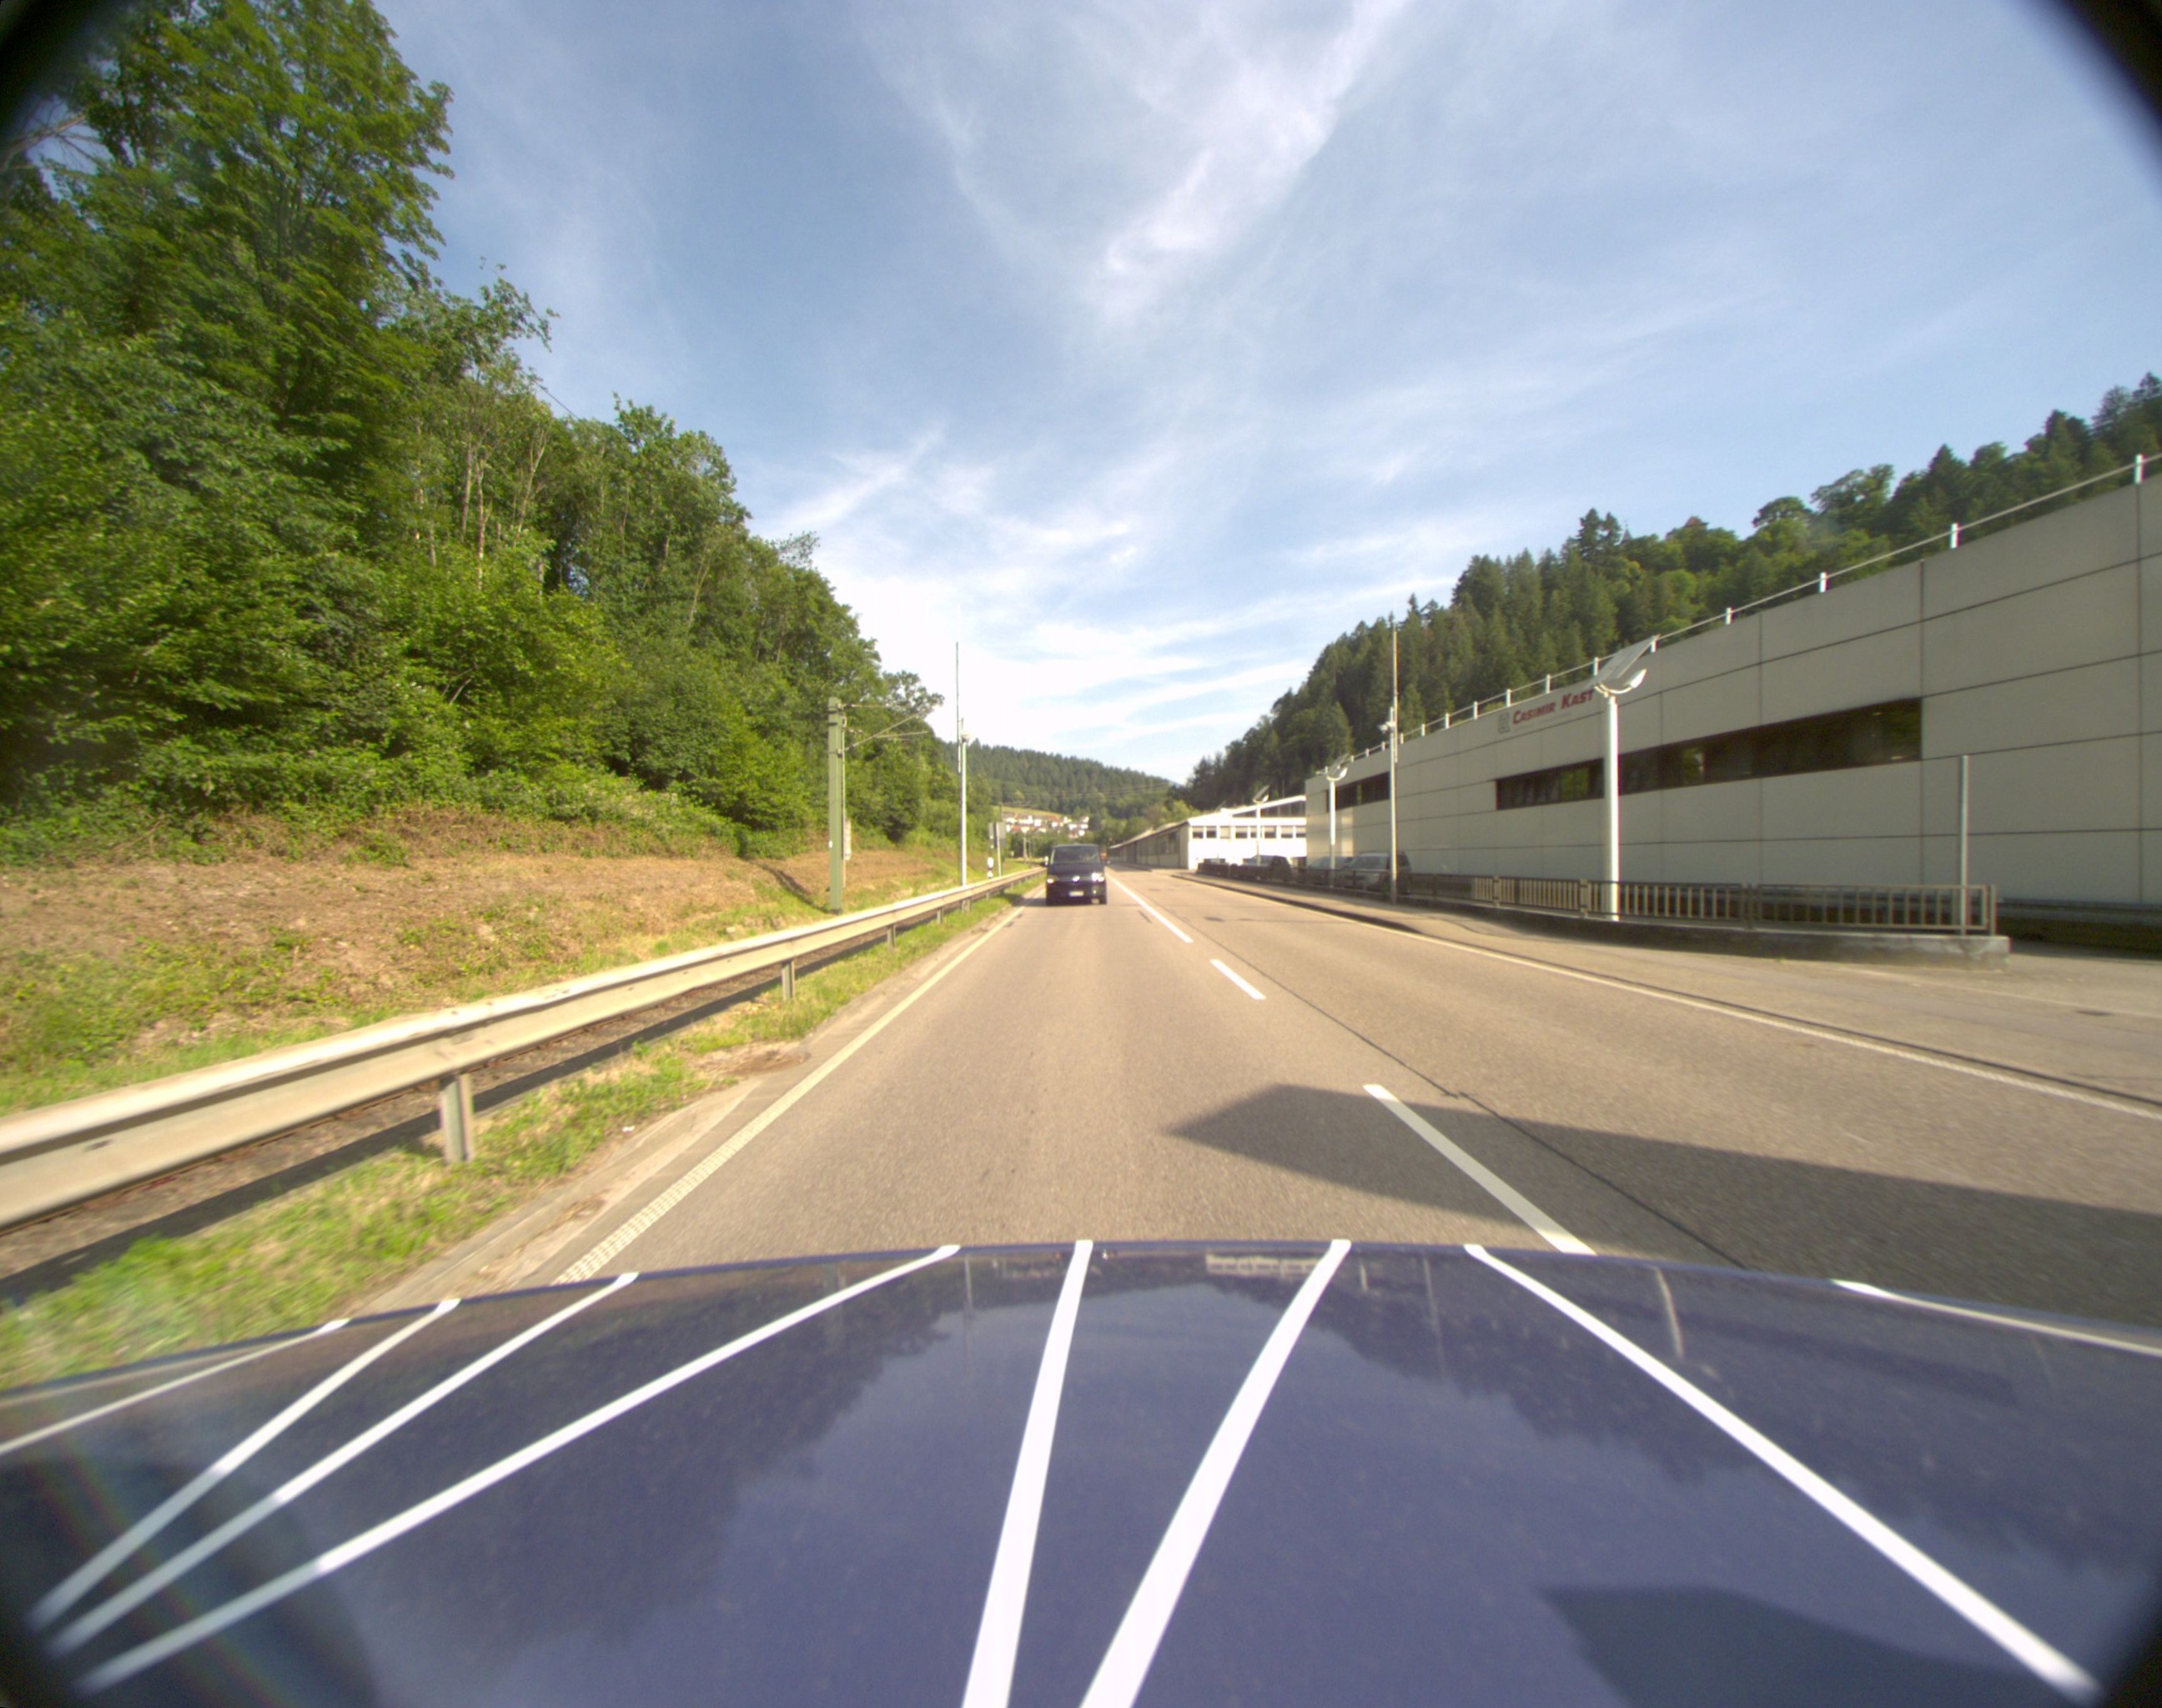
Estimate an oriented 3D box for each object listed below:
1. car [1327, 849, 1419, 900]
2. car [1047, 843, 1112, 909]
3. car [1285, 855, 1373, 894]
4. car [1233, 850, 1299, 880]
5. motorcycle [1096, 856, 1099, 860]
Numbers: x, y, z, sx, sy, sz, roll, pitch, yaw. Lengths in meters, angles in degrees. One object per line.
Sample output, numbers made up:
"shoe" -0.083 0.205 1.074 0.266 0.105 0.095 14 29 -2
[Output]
"car" 10.886 0.688 28.163 1.776 1.698 4.119 -1 1 42
"car" -0.153 0.669 25.427 1.901 1.927 5.187 -2 0 -3
"car" 10.704 0.830 32.592 1.883 1.486 4.498 -1 0 42
"car" 10.672 0.622 43.690 1.883 1.582 4.184 -1 1 42
"motorcycle" 4.468 1.165 202.345 0.743 1.062 2.492 -1 0 0
